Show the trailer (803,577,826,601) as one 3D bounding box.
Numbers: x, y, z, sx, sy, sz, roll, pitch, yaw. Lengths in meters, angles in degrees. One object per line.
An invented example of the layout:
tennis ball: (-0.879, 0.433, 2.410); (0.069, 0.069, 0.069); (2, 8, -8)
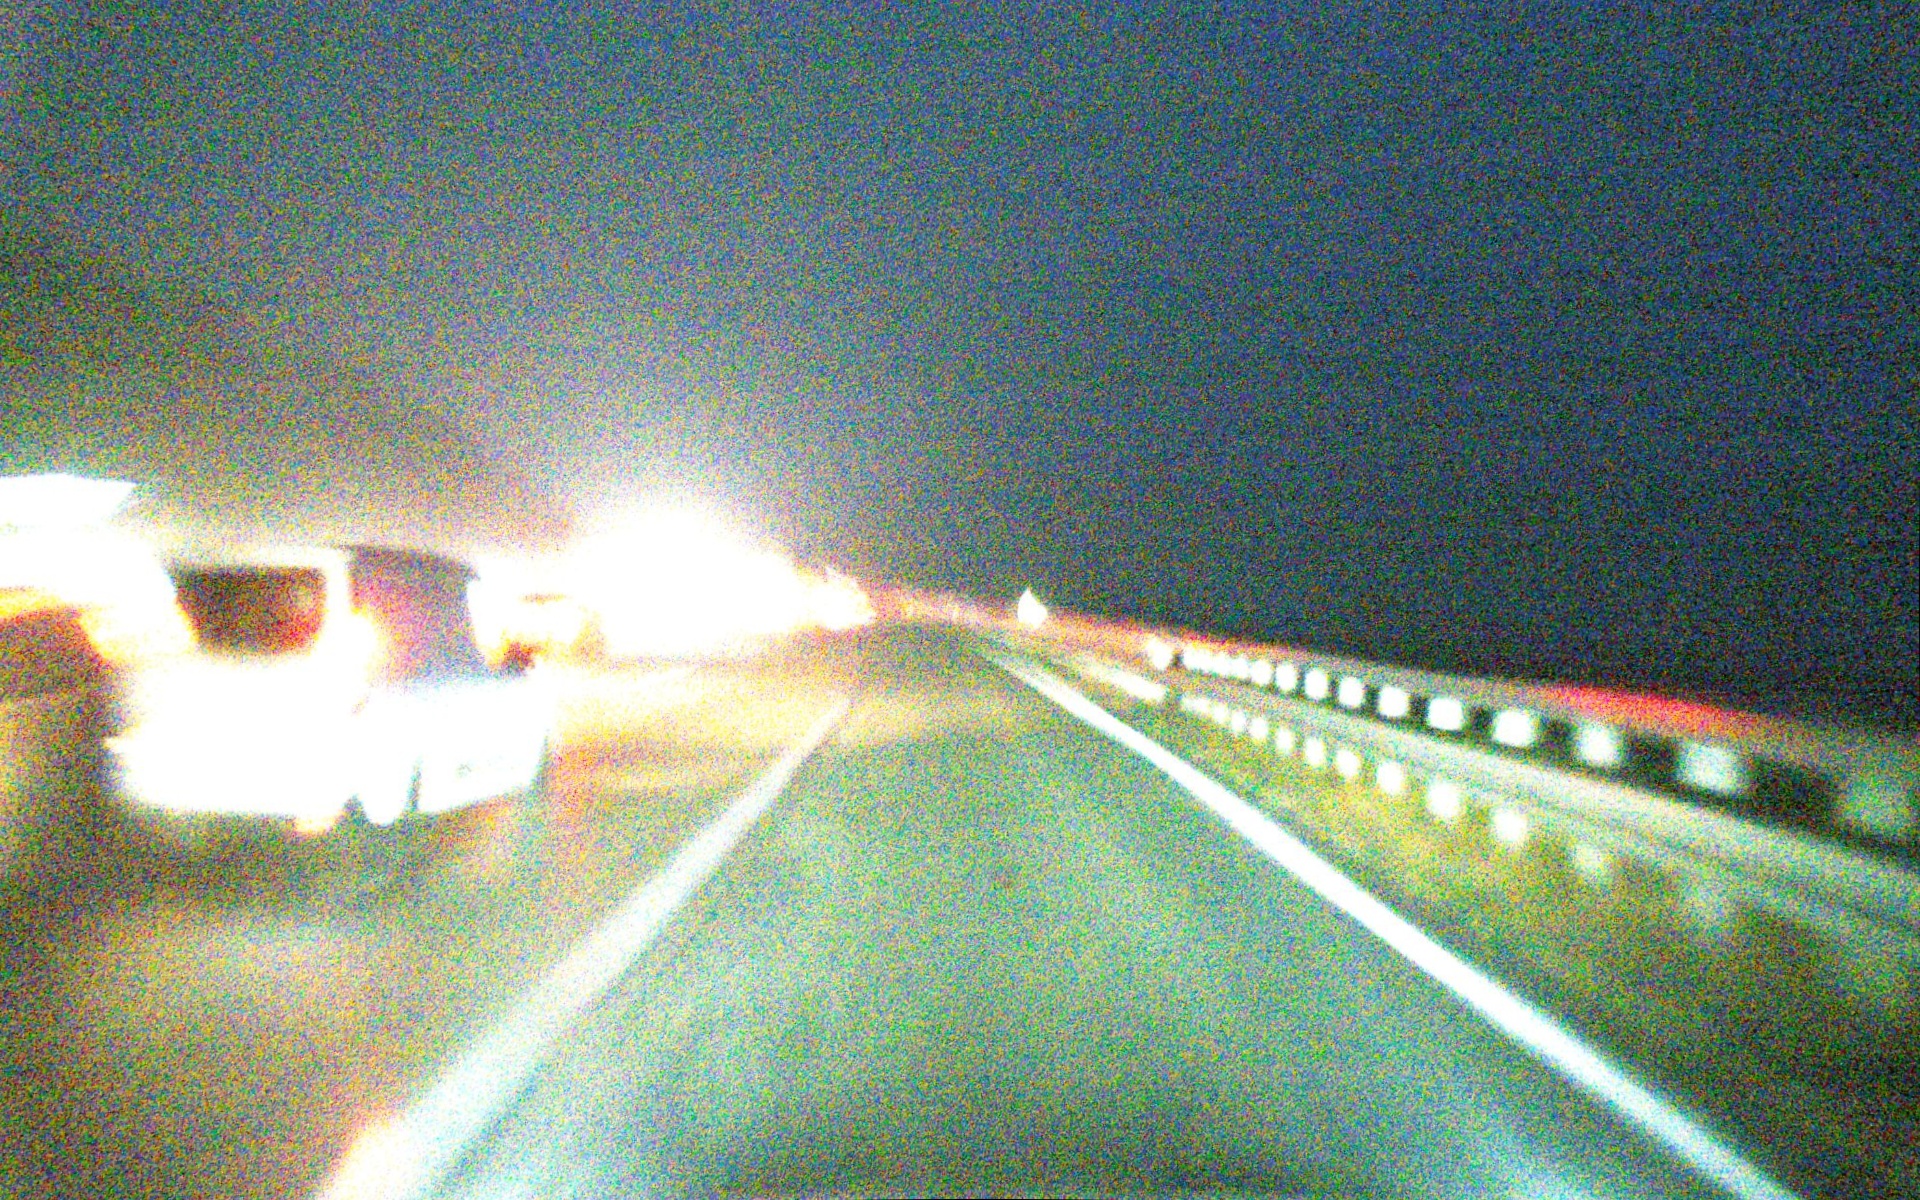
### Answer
trailer: (-18.821, -1.354, 212.930); (2.636, 2.746, 12.841); (4, 0, -6)

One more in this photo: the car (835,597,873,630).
car: (-6.568, 0.850, 102.443); (1.953, 1.850, 4.000); (4, 0, 0)

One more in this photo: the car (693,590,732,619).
car: (-15.193, 0.288, 101.765); (1.954, 1.646, 3.997); (4, 0, -3)

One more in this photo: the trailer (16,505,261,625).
trailer: (-32.720, -1.225, 66.987); (2.673, 4.161, 14.854); (4, 0, -2)

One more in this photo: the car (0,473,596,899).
car: (-3.872, 0.436, 10.576); (1.953, 2.049, 5.016); (1, 0, 0)

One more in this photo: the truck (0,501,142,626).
truck: (-32.479, -1.265, 59.670); (2.673, 4.161, 6.265); (4, -1, -2)

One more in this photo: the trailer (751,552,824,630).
trailer: (-9.389, -0.400, 91.502); (2.539, 3.790, 13.649); (4, -1, -1)

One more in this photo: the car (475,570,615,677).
car: (-8.889, 0.489, 35.823); (1.954, 2.048, 4.565); (4, 0, -3)
